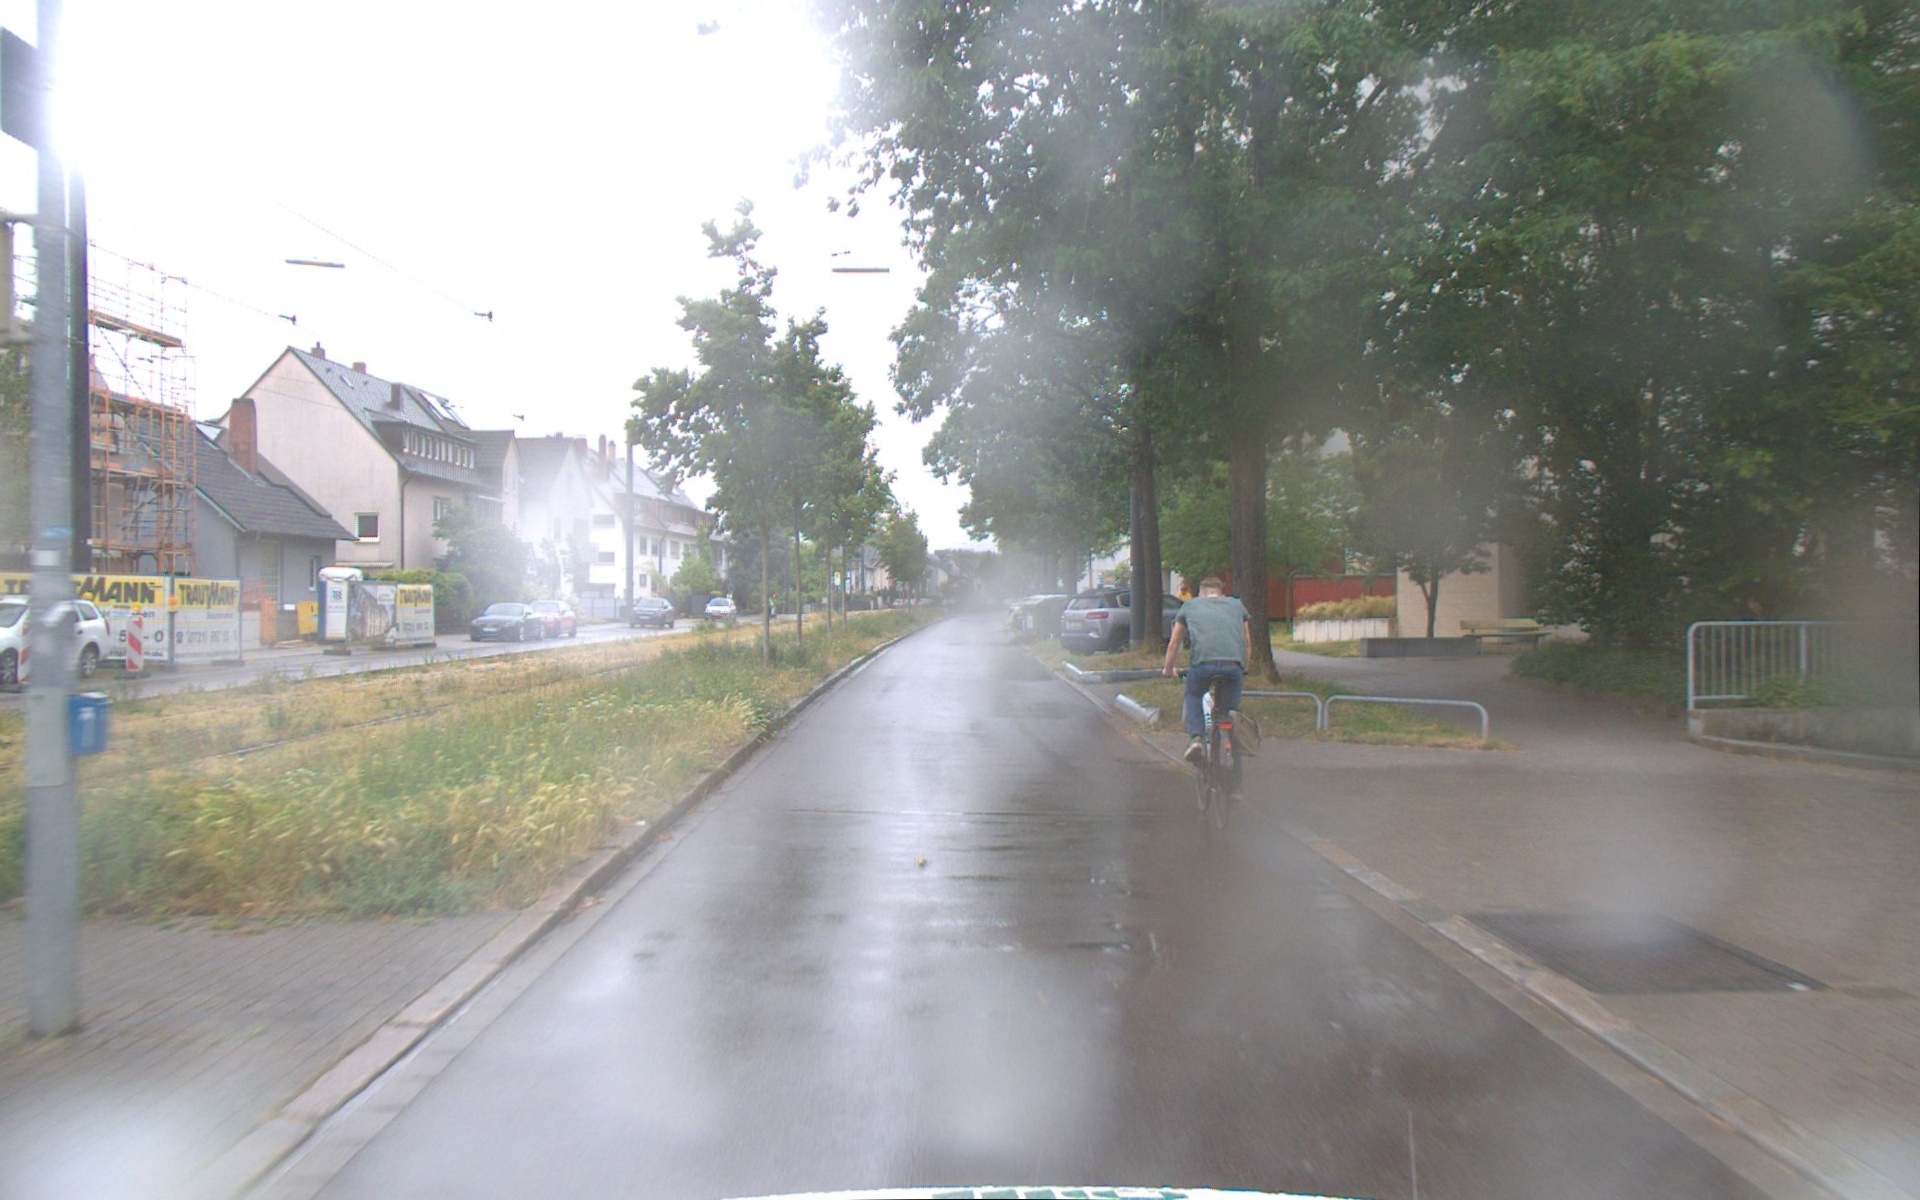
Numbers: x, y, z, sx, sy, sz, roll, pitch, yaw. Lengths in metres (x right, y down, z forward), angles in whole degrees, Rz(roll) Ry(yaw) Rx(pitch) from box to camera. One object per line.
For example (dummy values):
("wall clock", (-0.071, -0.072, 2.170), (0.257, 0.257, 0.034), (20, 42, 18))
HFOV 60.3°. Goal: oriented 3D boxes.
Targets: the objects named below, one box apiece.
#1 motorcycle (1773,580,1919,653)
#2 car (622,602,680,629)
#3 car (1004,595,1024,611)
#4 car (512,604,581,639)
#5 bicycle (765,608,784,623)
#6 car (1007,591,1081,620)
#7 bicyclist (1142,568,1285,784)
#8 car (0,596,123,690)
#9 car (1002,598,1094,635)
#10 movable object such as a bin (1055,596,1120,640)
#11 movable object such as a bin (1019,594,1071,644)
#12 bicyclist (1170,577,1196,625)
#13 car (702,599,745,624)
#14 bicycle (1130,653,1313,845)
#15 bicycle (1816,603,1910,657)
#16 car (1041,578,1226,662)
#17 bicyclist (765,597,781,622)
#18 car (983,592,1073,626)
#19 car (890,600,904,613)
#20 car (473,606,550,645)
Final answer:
("motorcycle", (16.713, 0.307, 31.261), (0.876, 1.311, 2.272), (-1, 0, -37))
("car", (-15.955, 0.770, 85.713), (1.857, 1.266, 4.689), (2, 0, 3))
("car", (5.277, 0.284, 161.079), (1.795, 1.614, 4.000), (-1, 0, 0))
("car", (-16.200, 0.821, 64.988), (1.640, 1.266, 3.855), (2, 0, 1))
("bicycle", (-13.131, 1.086, 117.259), (0.997, 1.046, 3.196), (-1, 0, 0))
("car", (4.629, 0.306, 90.979), (3.997, 1.539, 1.565), (-1, 0, -37))
("bicyclist", (1.787, 0.516, 11.787), (0.793, 1.458, 1.059), (-1, 0, -3))
("car", (-17.433, 0.740, 30.470), (1.675, 1.569, 4.422), (2, 0, 1))
("car", (3.738, 0.675, 69.576), (4.010, 1.468, 1.560), (-1, 0, -44))
("movable object such as a bin", (4.154, 0.581, 54.078), (1.657, 1.349, 1.392), (-3, 1, -21))
("movable object such as a bin", (2.746, 0.597, 53.777), (1.110, 1.482, 1.392), (-6, 2, -21))
("bicyclist", (7.522, 0.034, 55.912), (0.719, 1.622, 0.944), (-1, 0, 0))
("car", (-15.376, 0.717, 107.859), (1.857, 1.495, 4.689), (2, 0, 3))
("bicycle", (1.797, 0.987, 11.788), (0.793, 1.116, 2.516), (-1, 0, -2))
("bicycle", (16.302, 0.531, 29.879), (0.404, 0.941, 1.446), (-1, 0, -37))
("car", (4.213, 0.454, 40.118), (4.096, 1.749, 1.978), (-4, 1, -32))
("bicyclist", (-13.150, 0.662, 116.572), (0.997, 1.715, 1.092), (-1, 0, 0))
("car", (3.079, 0.376, 74.321), (3.997, 1.468, 1.565), (-1, 0, -37))
("car", (-8.633, 0.918, 226.905), (1.805, 1.701, 4.000), (-1, 0, 0))
("car", (-16.167, 0.895, 59.802), (1.629, 1.266, 4.071), (2, 0, 0))
